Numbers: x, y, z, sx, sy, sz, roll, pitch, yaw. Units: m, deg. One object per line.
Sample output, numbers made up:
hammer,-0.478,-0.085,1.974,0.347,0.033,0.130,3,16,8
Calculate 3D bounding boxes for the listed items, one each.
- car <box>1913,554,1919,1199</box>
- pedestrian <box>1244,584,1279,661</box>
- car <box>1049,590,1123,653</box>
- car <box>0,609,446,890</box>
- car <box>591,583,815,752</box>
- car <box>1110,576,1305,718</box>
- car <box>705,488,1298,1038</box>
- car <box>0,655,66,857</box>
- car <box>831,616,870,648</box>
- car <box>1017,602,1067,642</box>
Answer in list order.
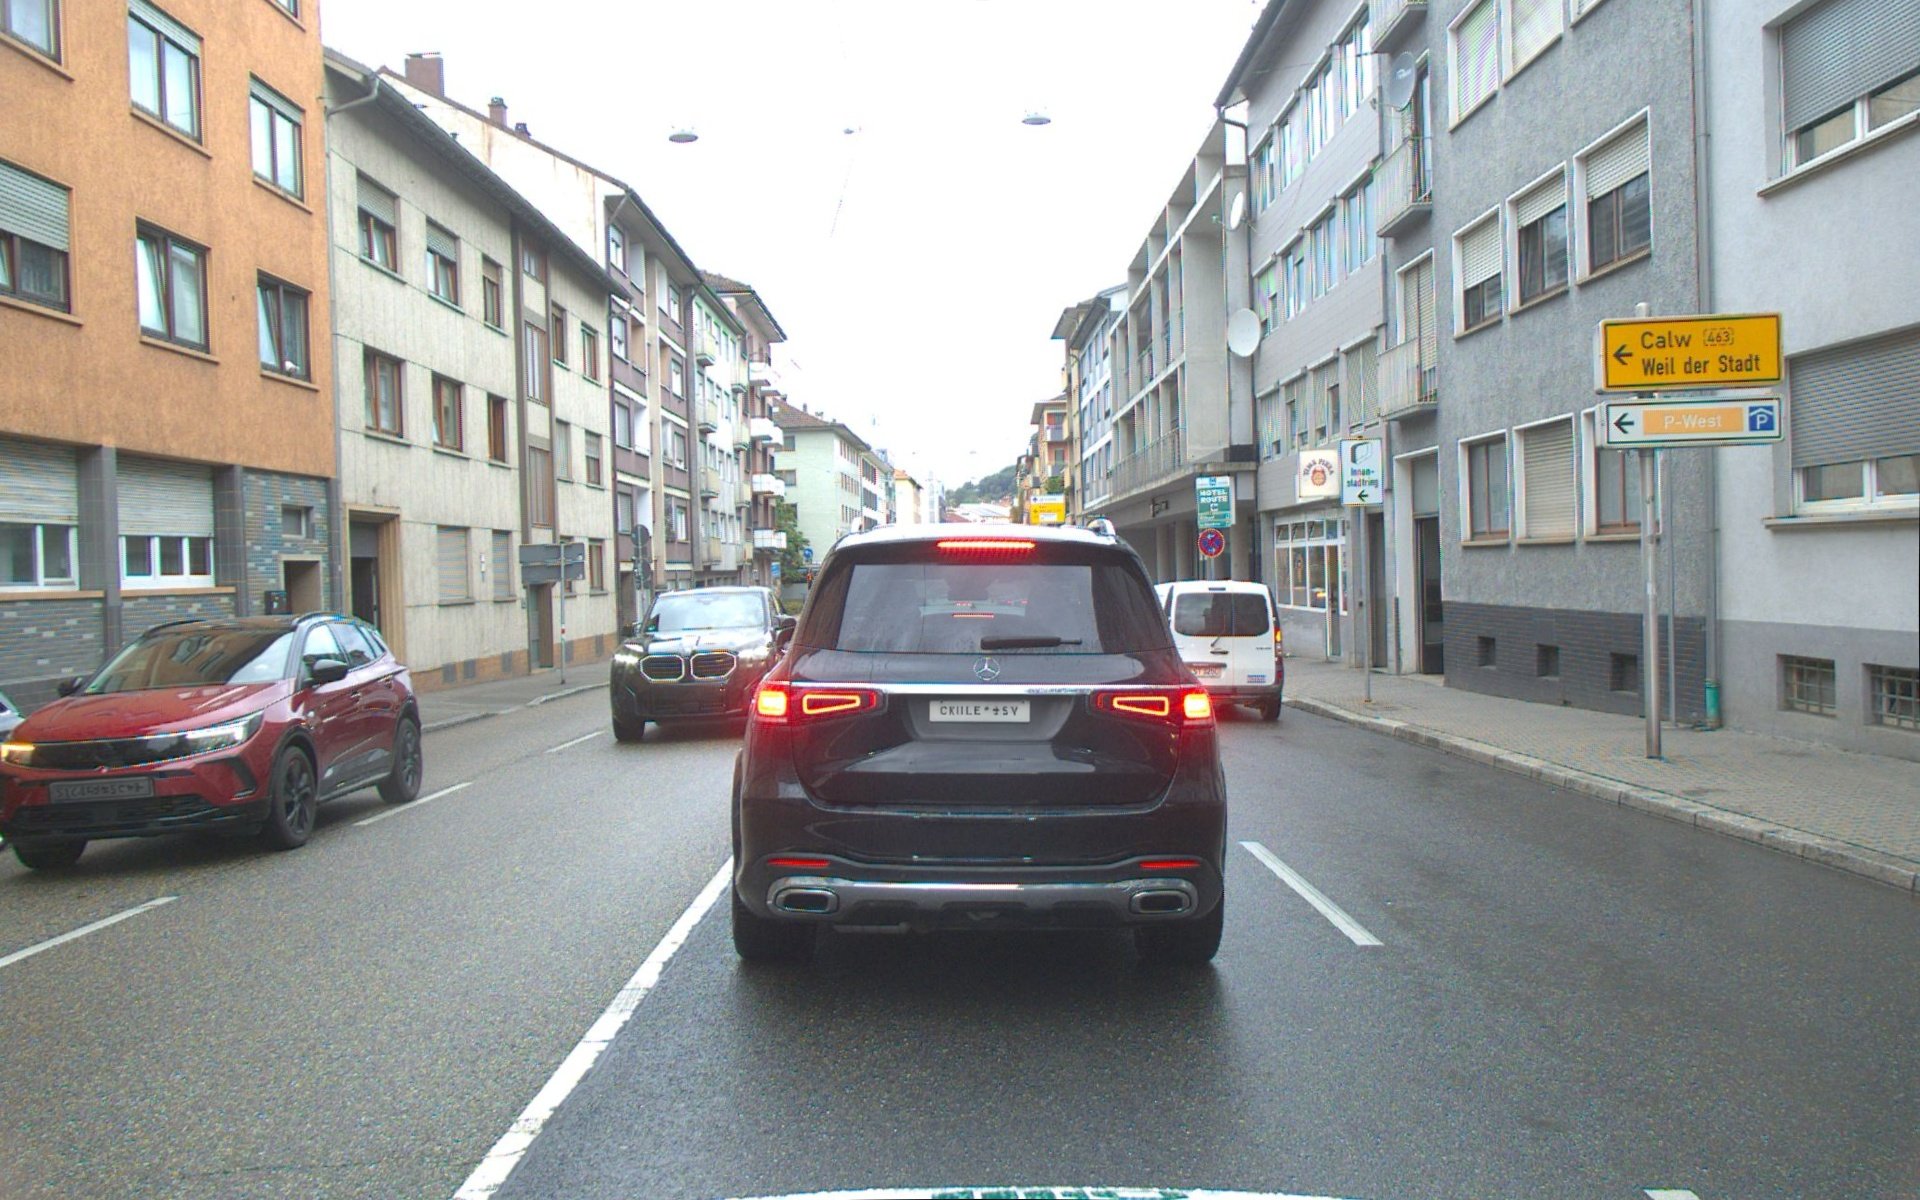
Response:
car,3.026,0.700,1.711,1.731,1.608,3.999,0,0,-1
pedestrian,6.473,0.472,35.490,0.548,1.606,0.526,-4,0,0
car,3.370,0.546,44.917,1.771,1.634,4.212,0,0,1
car,-5.387,0.943,12.418,1.761,1.612,4.314,-3,0,-2
car,-3.074,0.744,20.820,2.083,1.750,4.816,-3,0,-1
car,3.361,0.595,23.369,1.901,1.806,4.744,0,0,-2
car,0.101,0.555,7.620,1.984,1.837,3.999,1,0,-1
car,-7.965,1.164,10.891,1.759,1.463,4.525,1,0,-1
car,-5.397,1.564,82.151,1.732,1.369,3.886,-5,0,-3
car,3.097,0.812,63.014,1.588,1.455,4.311,1,0,-1
